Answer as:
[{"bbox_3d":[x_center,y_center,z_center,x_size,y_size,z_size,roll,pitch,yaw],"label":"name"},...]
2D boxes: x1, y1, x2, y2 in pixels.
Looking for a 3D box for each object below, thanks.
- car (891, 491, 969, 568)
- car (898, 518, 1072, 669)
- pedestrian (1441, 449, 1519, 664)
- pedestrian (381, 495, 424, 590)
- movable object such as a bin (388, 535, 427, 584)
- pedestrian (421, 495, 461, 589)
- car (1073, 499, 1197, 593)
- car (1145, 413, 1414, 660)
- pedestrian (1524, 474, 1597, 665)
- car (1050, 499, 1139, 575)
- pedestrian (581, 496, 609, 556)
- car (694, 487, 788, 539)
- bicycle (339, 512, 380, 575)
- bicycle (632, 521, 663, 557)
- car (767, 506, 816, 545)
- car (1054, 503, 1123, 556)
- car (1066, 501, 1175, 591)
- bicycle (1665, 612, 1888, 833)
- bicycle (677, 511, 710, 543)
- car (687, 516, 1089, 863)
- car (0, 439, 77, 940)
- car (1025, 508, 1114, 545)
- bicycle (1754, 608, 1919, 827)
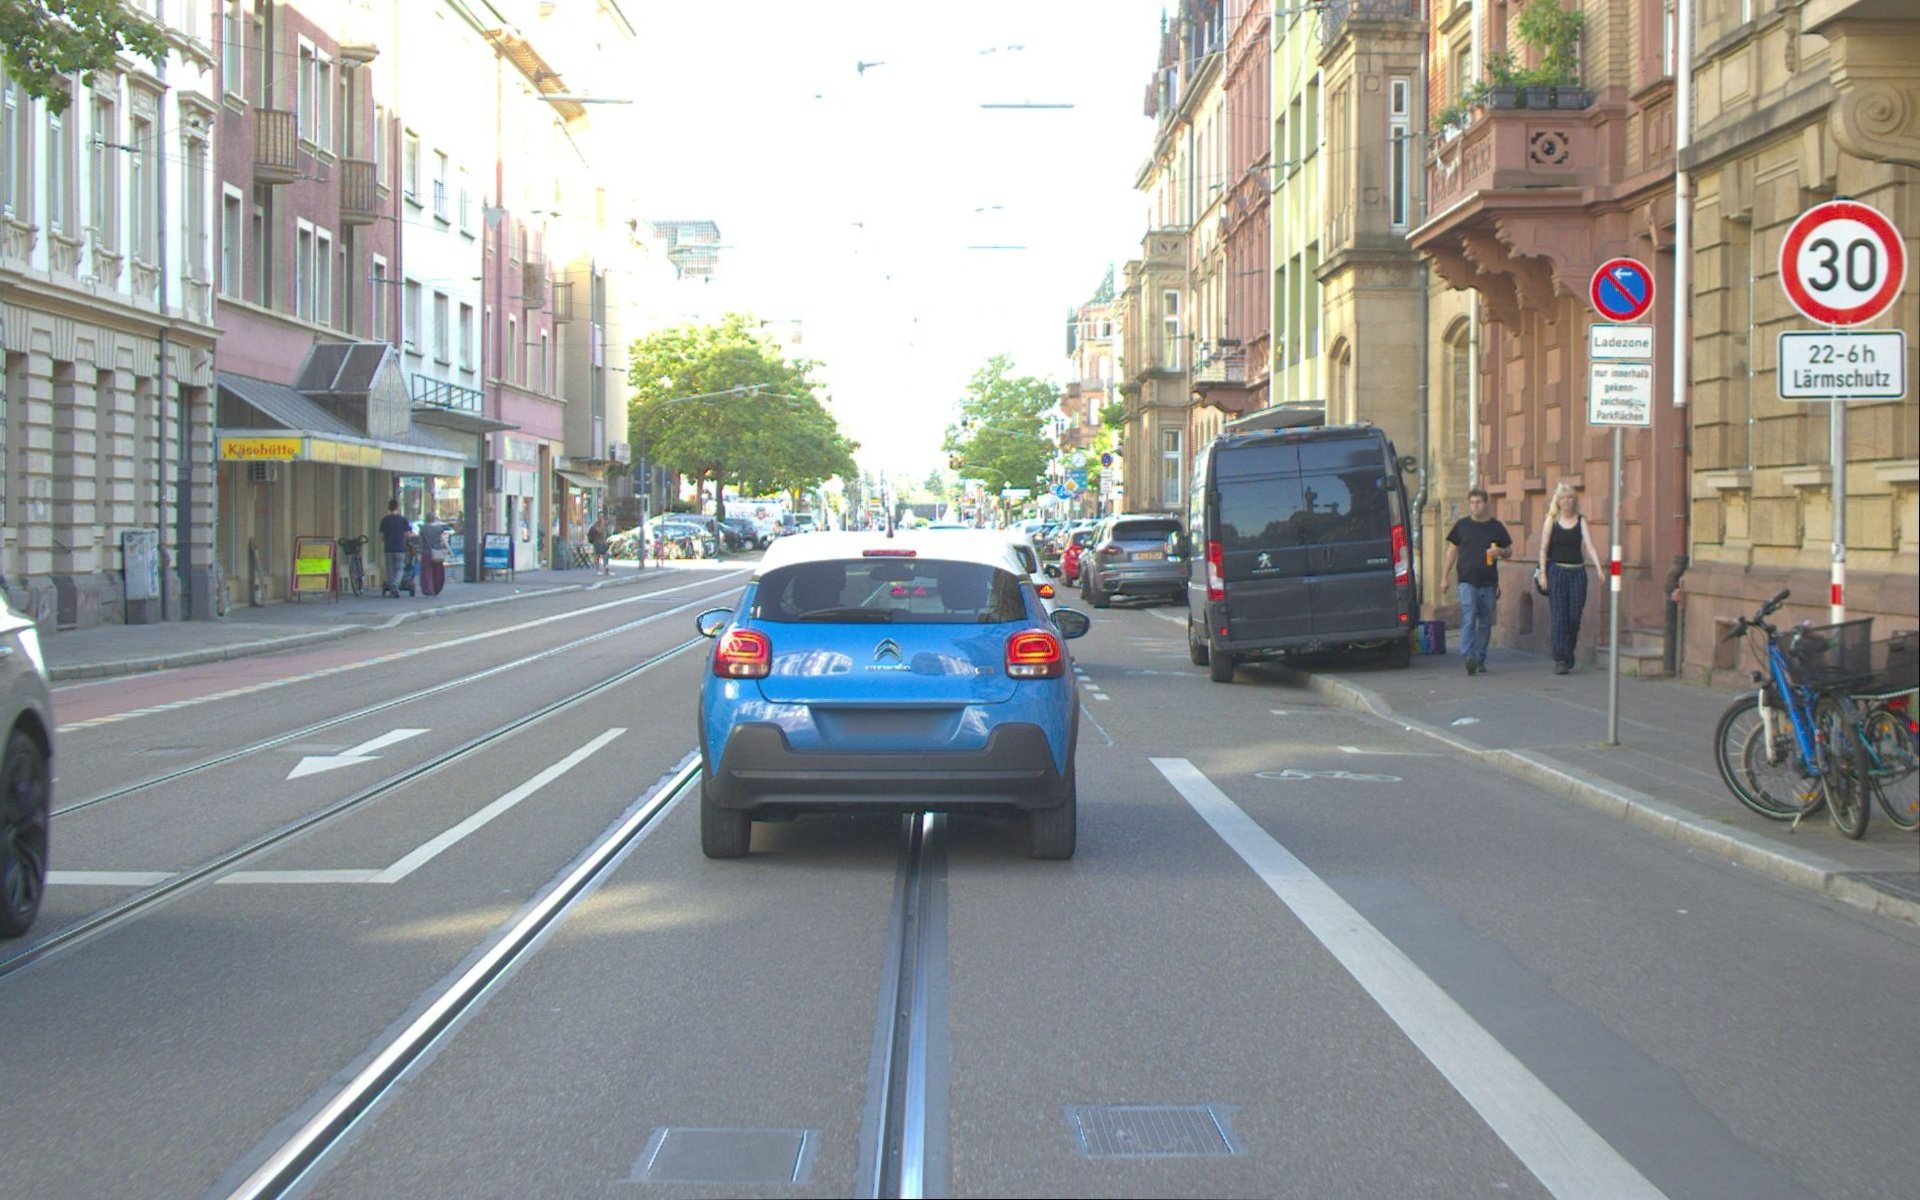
[{"bbox_3d":[-0.821,-1.888,92.012,1.993,2.007,4.001,0,1,-1],"label":"car"},{"bbox_3d":[0.214,-0.113,35.791,1.667,1.473,4.001,0,1,-1],"label":"car"},{"bbox_3d":[4.931,-0.418,32.638,0.585,2.007,0.823,0,1,-2],"label":"pedestrian"},{"bbox_3d":[-10.448,-1.076,64.418,0.710,1.758,0.570,0,1,-1],"label":"pedestrian"},{"bbox_3d":[-10.465,-0.772,65.127,0.610,0.911,0.695,0,1,0],"label":"movable object such as a bin"},{"bbox_3d":[-9.760,-1.091,64.642,0.710,1.758,0.655,-1,1,-8],"label":"pedestrian"},{"bbox_3d":[3.214,-1.030,63.975,2.005,1.666,4.806,0,1,0],"label":"car"},{"bbox_3d":[3.305,-0.697,36.775,2.271,2.428,5.720,0,1,-1],"label":"car"},{"bbox_3d":[5.624,-0.292,32.222,0.553,1.776,0.606,0,1,-2],"label":"pedestrian"},{"bbox_3d":[3.416,-1.630,87.953,2.005,1.666,4.392,2,4,0],"label":"car"},{"bbox_3d":[-9.978,-2.016,93.949,0.685,1.633,0.675,0,1,-1],"label":"pedestrian"},{"bbox_3d":[-11.283,-4.483,177.240,4.307,2.572,2.210,-2,2,-26],"label":"car"},{"bbox_3d":[-11.257,-1.071,64.449,0.621,1.155,2.066,-1,1,-13],"label":"bicycle"},{"bbox_3d":[-11.682,-2.291,128.350,1.120,1.315,3.645,0,1,-6],"label":"bicycle"},{"bbox_3d":[-7.191,-3.183,147.067,1.993,1.645,4.001,0,1,-1],"label":"car"},{"bbox_3d":[4.199,-2.320,112.591,2.005,1.666,4.391,-2,1,0],"label":"car"},{"bbox_3d":[3.190,-1.101,69.100,1.905,1.751,4.001,0,1,-1],"label":"car"},{"bbox_3d":[3.859,0.554,16.369,0.431,0.944,1.764,0,2,-8],"label":"bicycle"},{"bbox_3d":[-9.959,-2.732,128.233,1.120,1.142,3.645,0,1,-6],"label":"bicycle"},{"bbox_3d":[-0.461,0.332,16.731,1.673,1.472,4.001,0,2,-5],"label":"car"},{"bbox_3d":[-4.294,0.338,10.768,1.993,1.738,4.563,0,1,-2],"label":"car"},{"bbox_3d":[4.892,-3.273,153.607,3.835,1.612,1.792,0,1,-3],"label":"car"},{"bbox_3d":[4.319,0.532,16.421,0.431,0.944,1.764,0,1,-8],"label":"bicycle"}]
